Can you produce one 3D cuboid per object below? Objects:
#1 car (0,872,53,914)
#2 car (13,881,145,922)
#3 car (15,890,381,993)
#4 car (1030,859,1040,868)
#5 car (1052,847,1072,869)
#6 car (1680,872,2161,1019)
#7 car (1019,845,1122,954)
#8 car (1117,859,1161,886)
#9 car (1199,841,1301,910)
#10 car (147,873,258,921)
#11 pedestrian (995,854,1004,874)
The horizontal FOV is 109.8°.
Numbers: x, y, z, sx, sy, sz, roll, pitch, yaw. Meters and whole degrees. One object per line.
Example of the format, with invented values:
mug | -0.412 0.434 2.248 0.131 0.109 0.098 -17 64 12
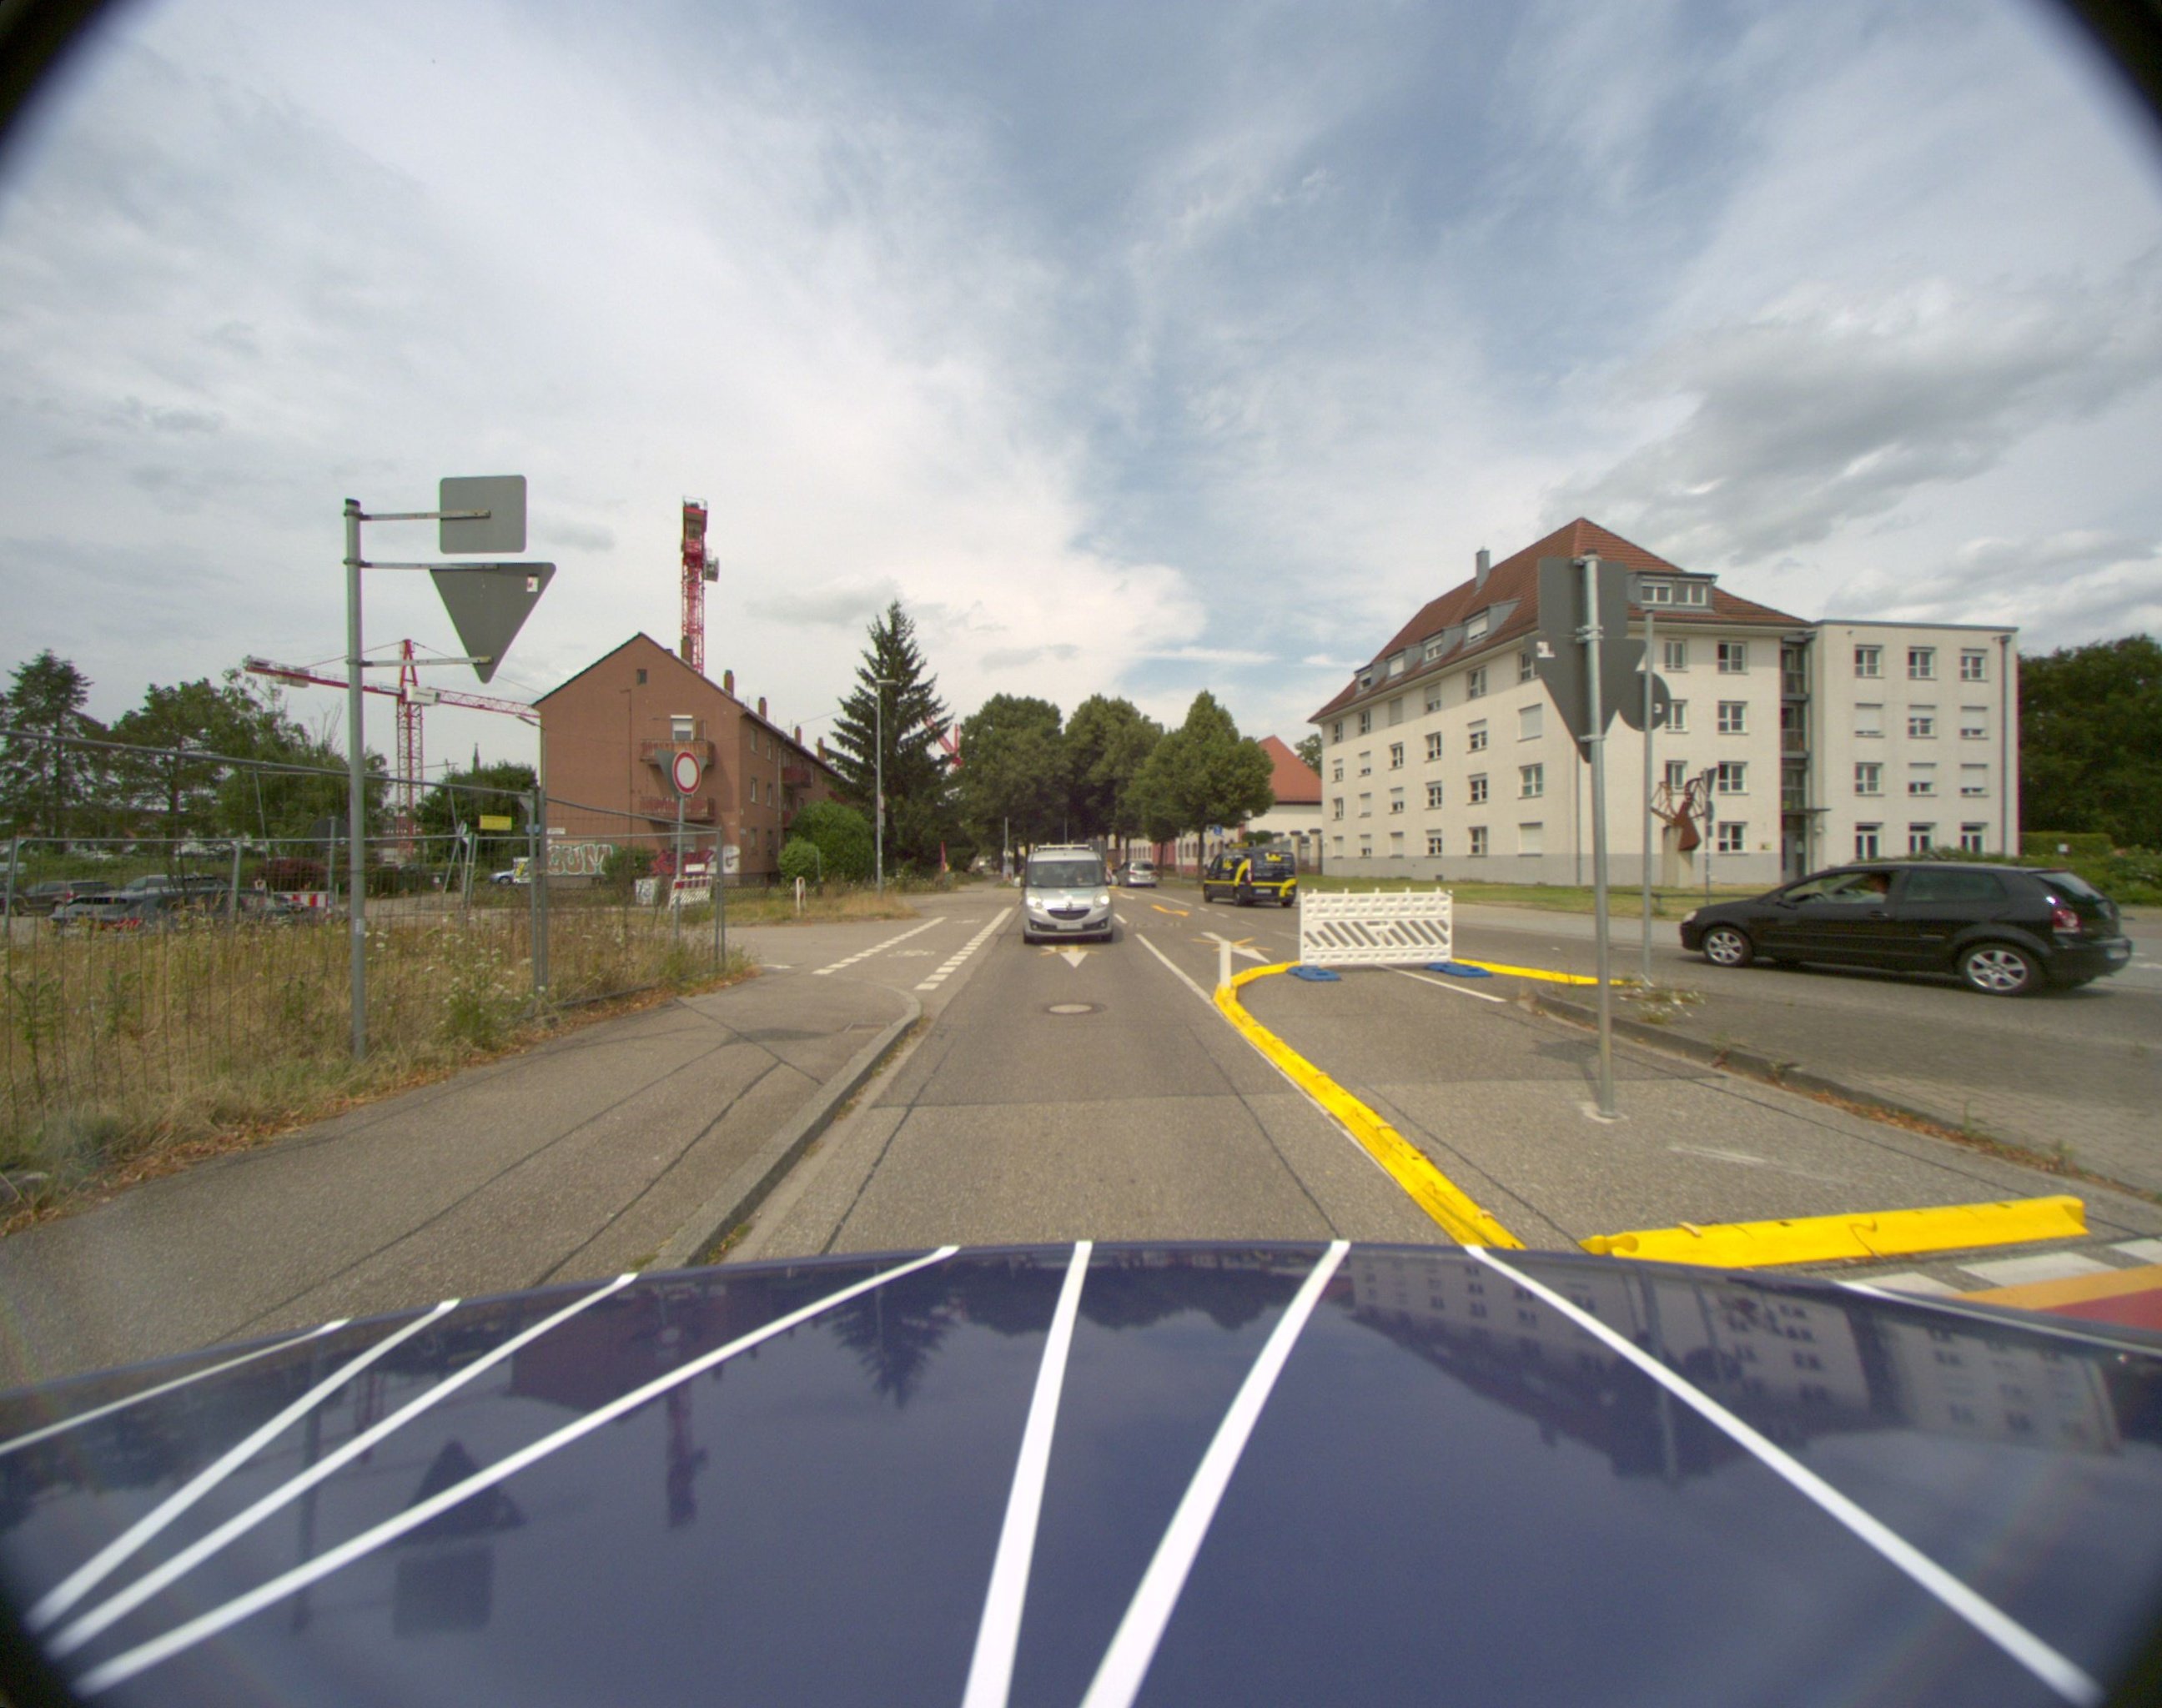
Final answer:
car | -46.724 1.669 32.451 4.006 1.739 1.859 -1 0 12
car | -41.683 1.947 31.644 4.006 1.593 1.804 -1 0 13
car | -16.188 1.510 14.358 1.765 1.465 4.261 -1 0 5
car | -8.009 1.661 131.218 1.677 1.402 3.918 -1 0 -5
car | -2.395 0.495 93.906 2.071 2.670 5.967 -1 0 -6
car | 10.065 0.957 9.499 1.634 1.406 3.715 1 -1 -23
car | -0.371 0.833 16.070 1.810 1.936 4.582 -1 0 -5
car | 3.552 1.135 47.588 1.801 1.613 4.745 -1 0 -8
car | 6.022 0.726 27.851 2.000 2.259 5.157 -1 0 -7
car | -36.262 1.735 31.367 3.990 1.838 1.805 -1 0 22
pedestrian | -8.294 0.971 77.034 0.856 2.002 0.731 -1 0 -11
